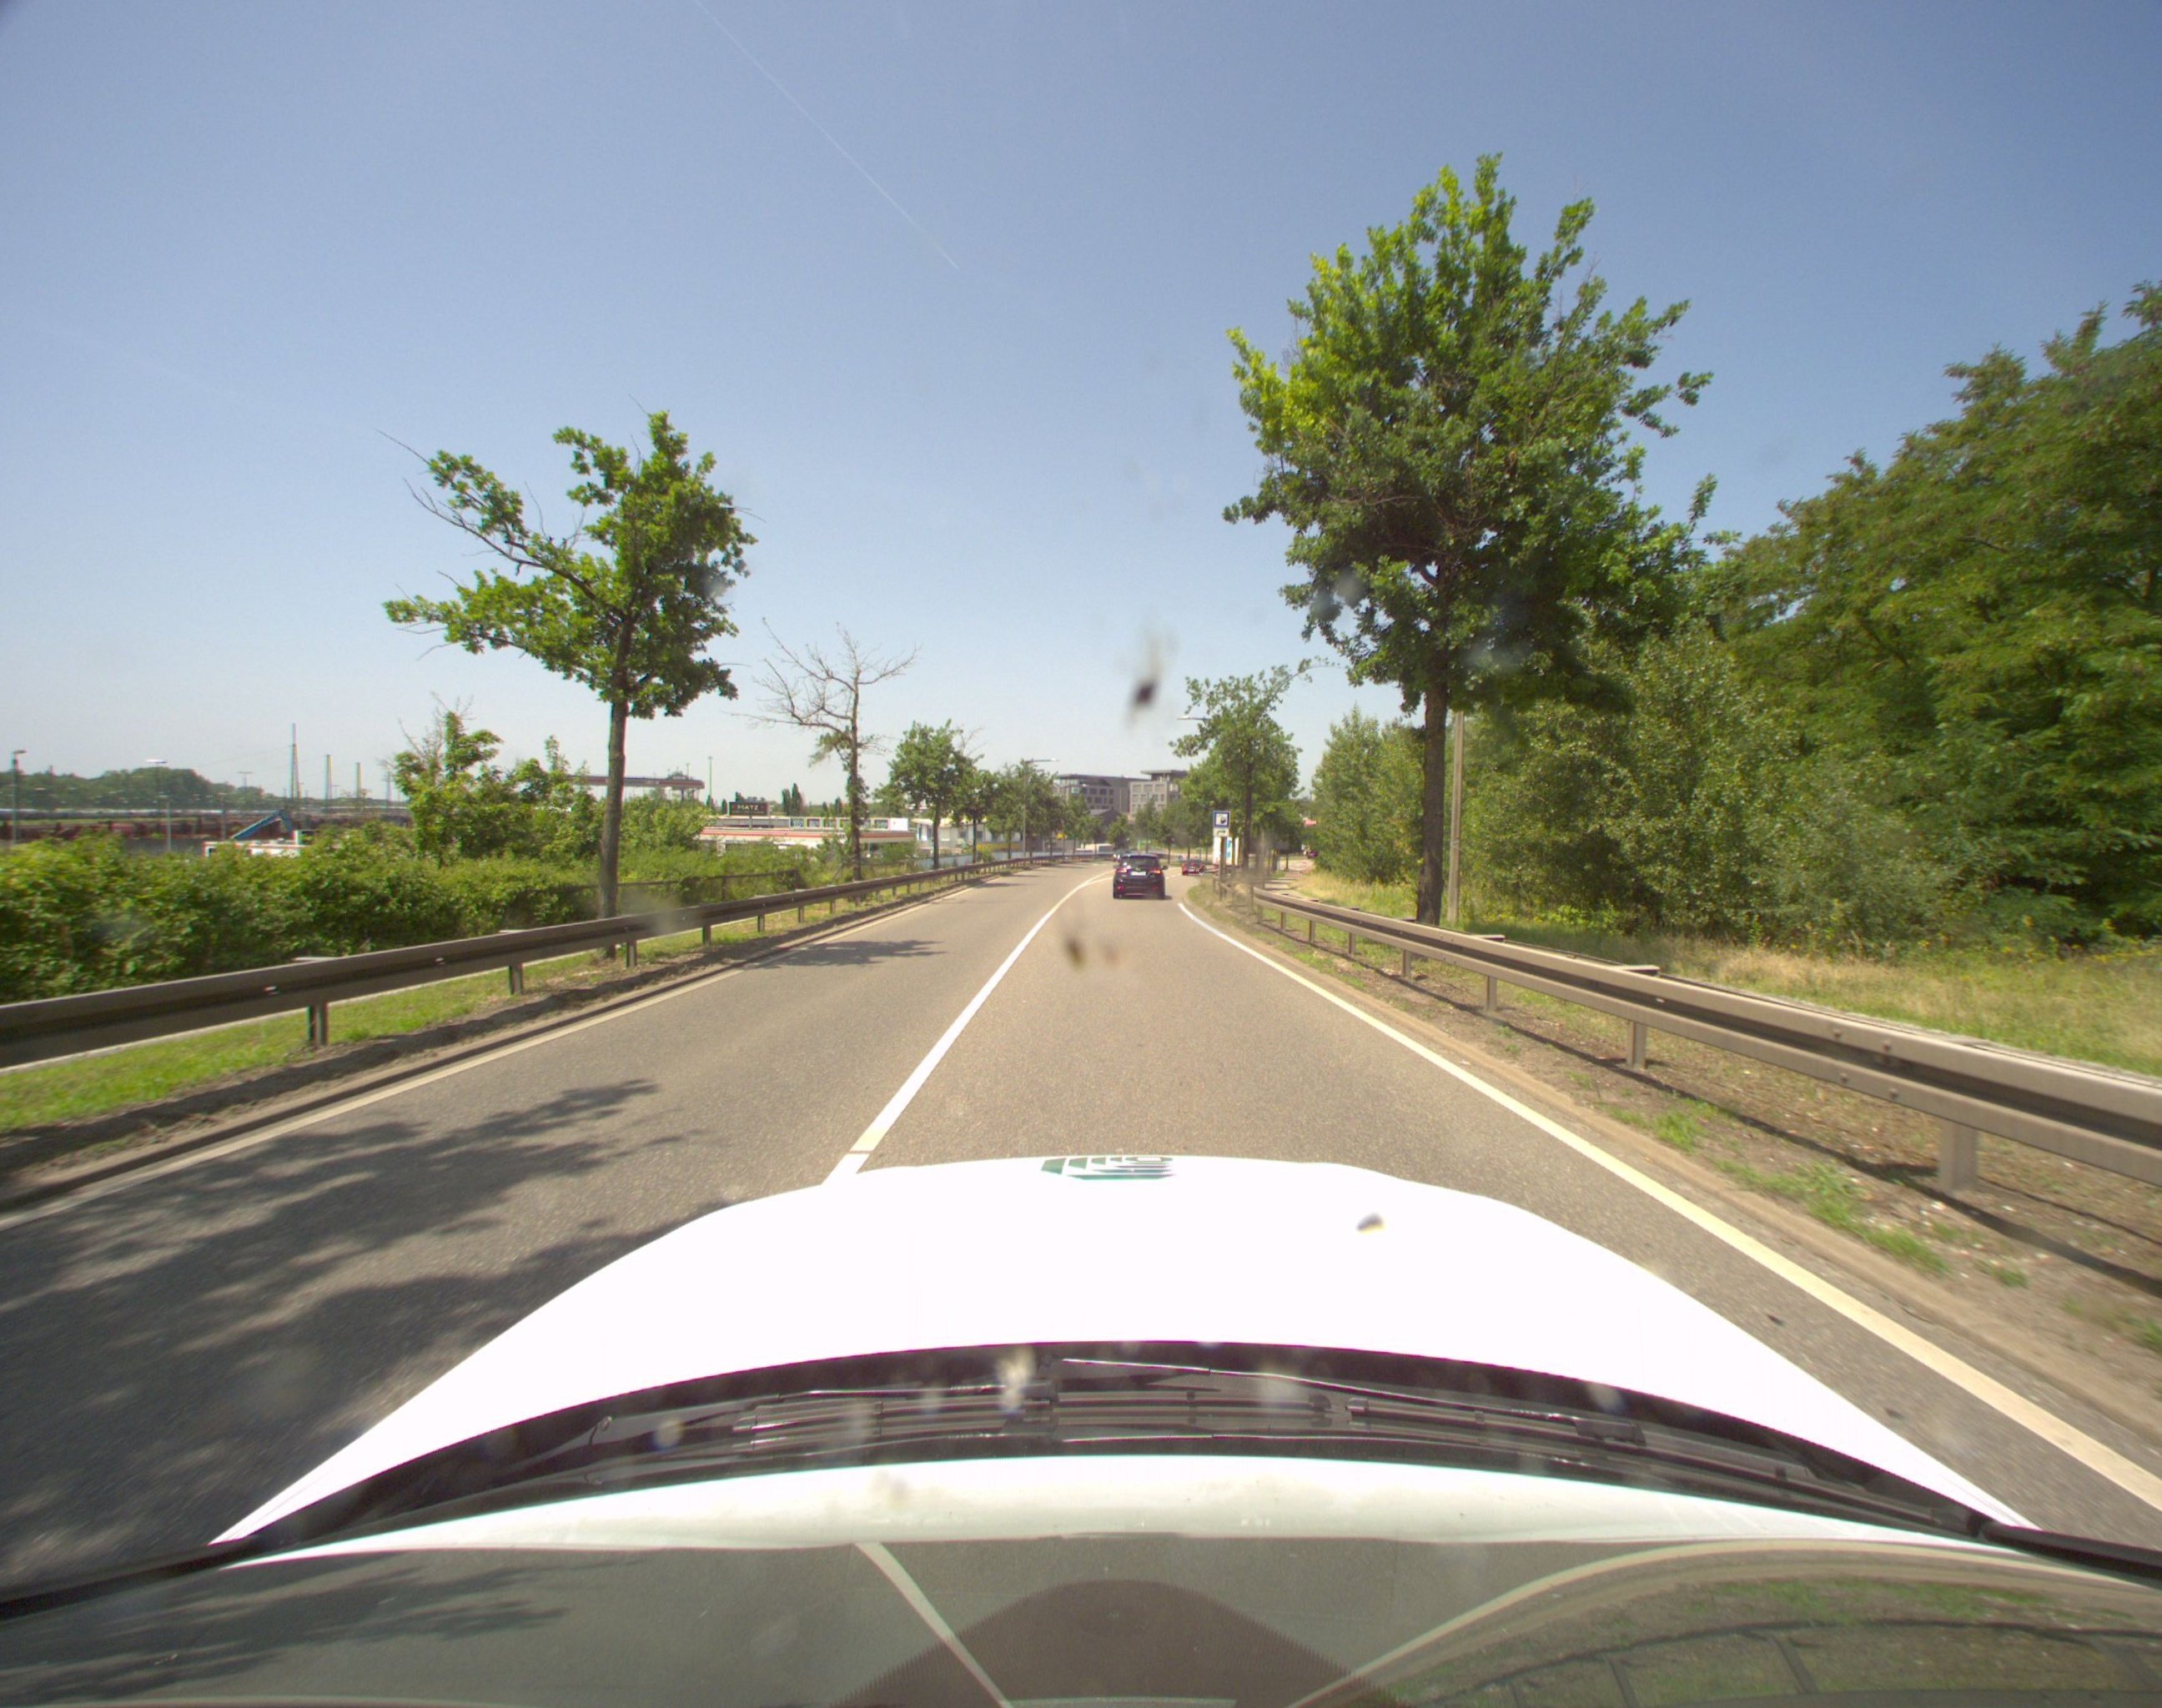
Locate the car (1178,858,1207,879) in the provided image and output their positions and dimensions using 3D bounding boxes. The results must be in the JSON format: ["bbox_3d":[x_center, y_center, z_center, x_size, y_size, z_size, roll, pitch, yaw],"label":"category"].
[{"bbox_3d":[9.337,1.179,67.794,1.943,1.633,4.296,0,0,14],"label":"car"}]

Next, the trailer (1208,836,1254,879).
[{"bbox_3d":[16.910,0.171,90.757,3.053,4.367,14.845,1,2,18],"label":"trailer"}]

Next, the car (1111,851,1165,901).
[{"bbox_3d":[2.091,0.736,29.366,1.759,1.599,4.083,2,0,5],"label":"car"}]
